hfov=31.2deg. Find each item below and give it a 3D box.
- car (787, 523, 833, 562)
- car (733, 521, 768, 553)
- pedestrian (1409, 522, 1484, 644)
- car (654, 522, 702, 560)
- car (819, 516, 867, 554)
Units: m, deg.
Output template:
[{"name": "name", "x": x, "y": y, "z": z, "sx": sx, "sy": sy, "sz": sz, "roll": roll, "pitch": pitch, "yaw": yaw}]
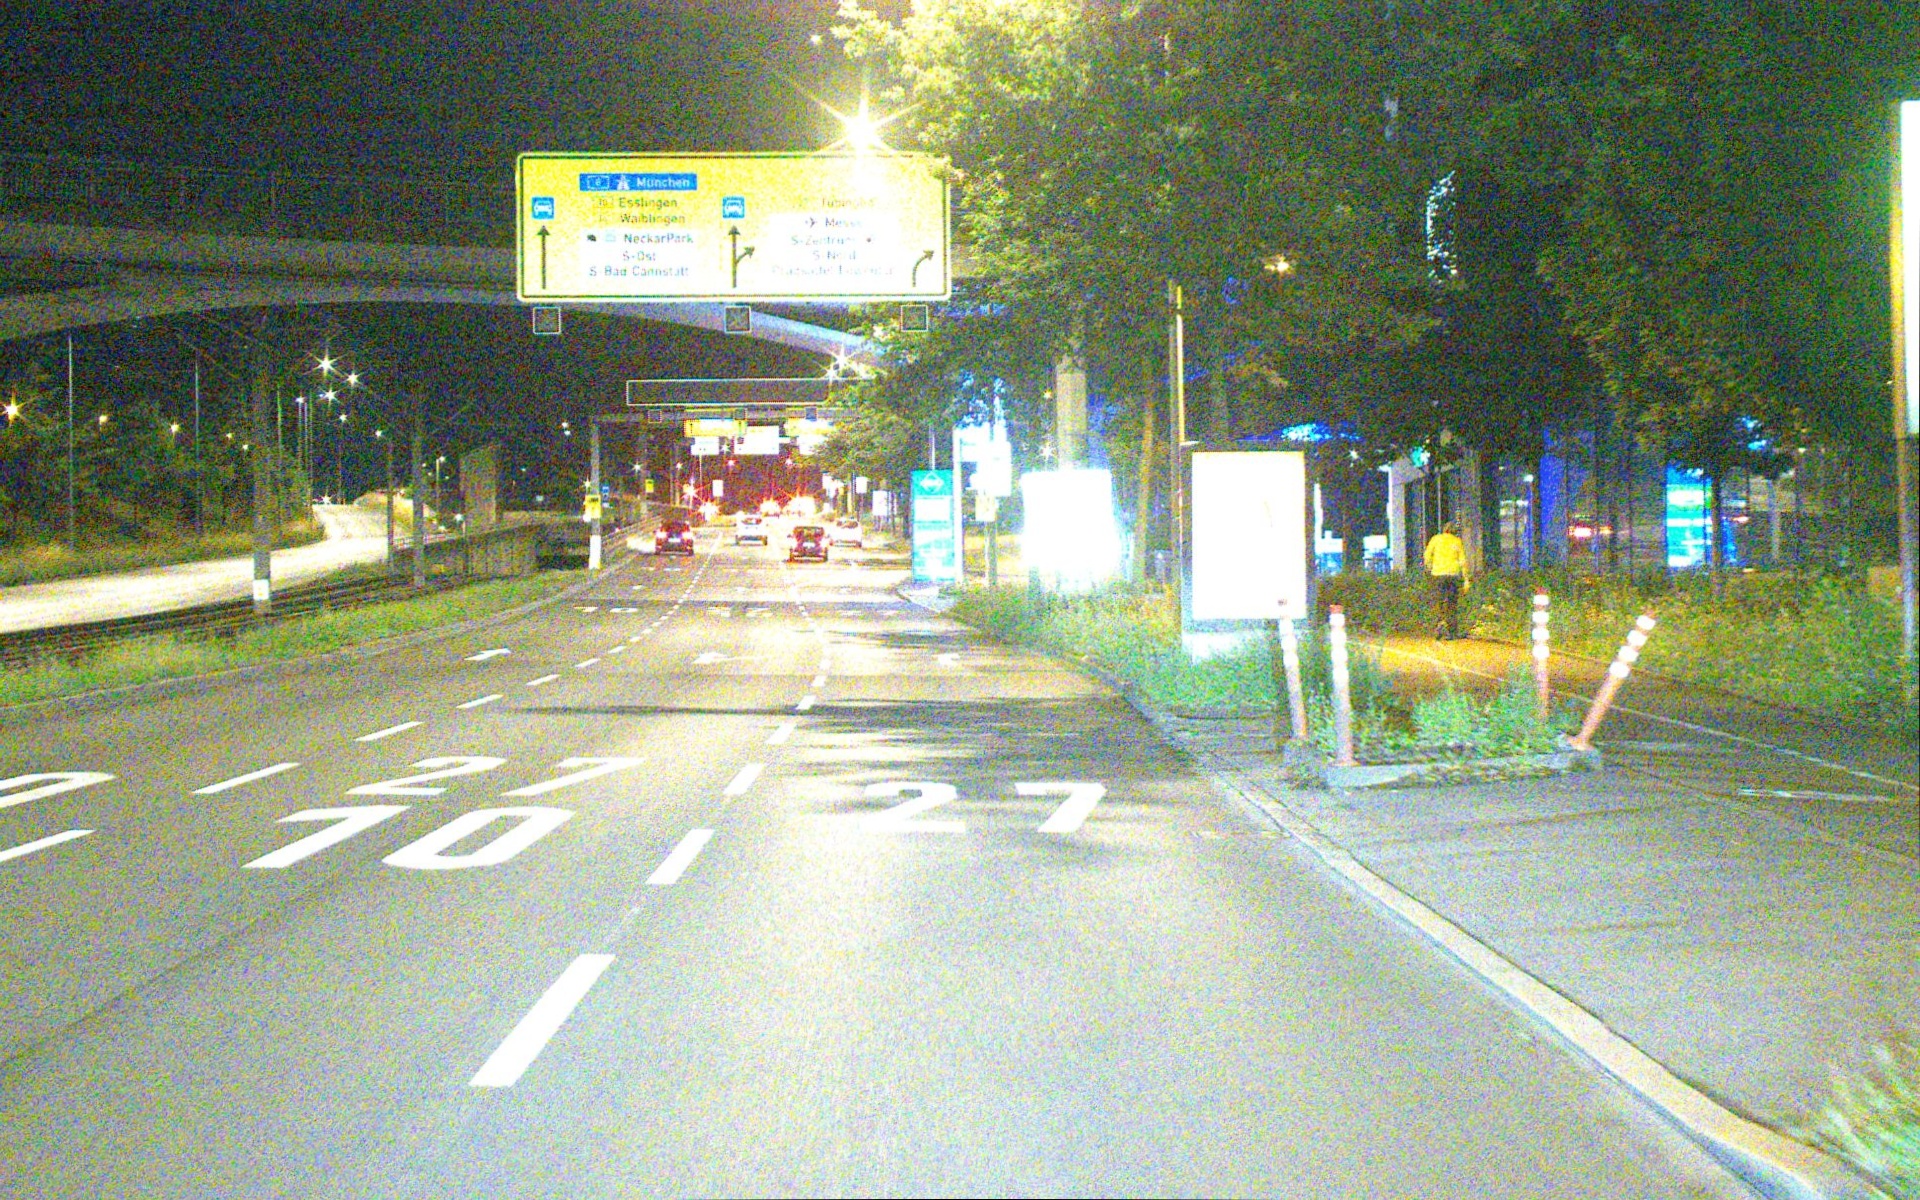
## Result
[{"name": "car", "x": -6.817, "y": -2.610, "z": 156.373, "sx": 1.968, "sy": 1.705, "sz": 4.000, "roll": 1, "pitch": 0, "yaw": -1}, {"name": "car", "x": -11.712, "y": -3.520, "z": 192.571, "sx": 1.782, "sy": 1.705, "sz": 4.000, "roll": 1, "pitch": 0, "yaw": -1}, {"name": "pedestrian", "x": 6.981, "y": -0.245, "z": 49.372, "sx": 0.852, "sy": 1.701, "sz": 0.957, "roll": 2, "pitch": 0, "yaw": -3}, {"name": "car", "x": -13.278, "y": -2.777, "z": 161.852, "sx": 1.968, "sy": 1.705, "sz": 4.000, "roll": 1, "pitch": 0, "yaw": -1}, {"name": "car", "x": -6.653, "y": -3.710, "z": 196.304, "sx": 2.651, "sy": 2.007, "sz": 5.299, "roll": 1, "pitch": 0, "yaw": -1}]
